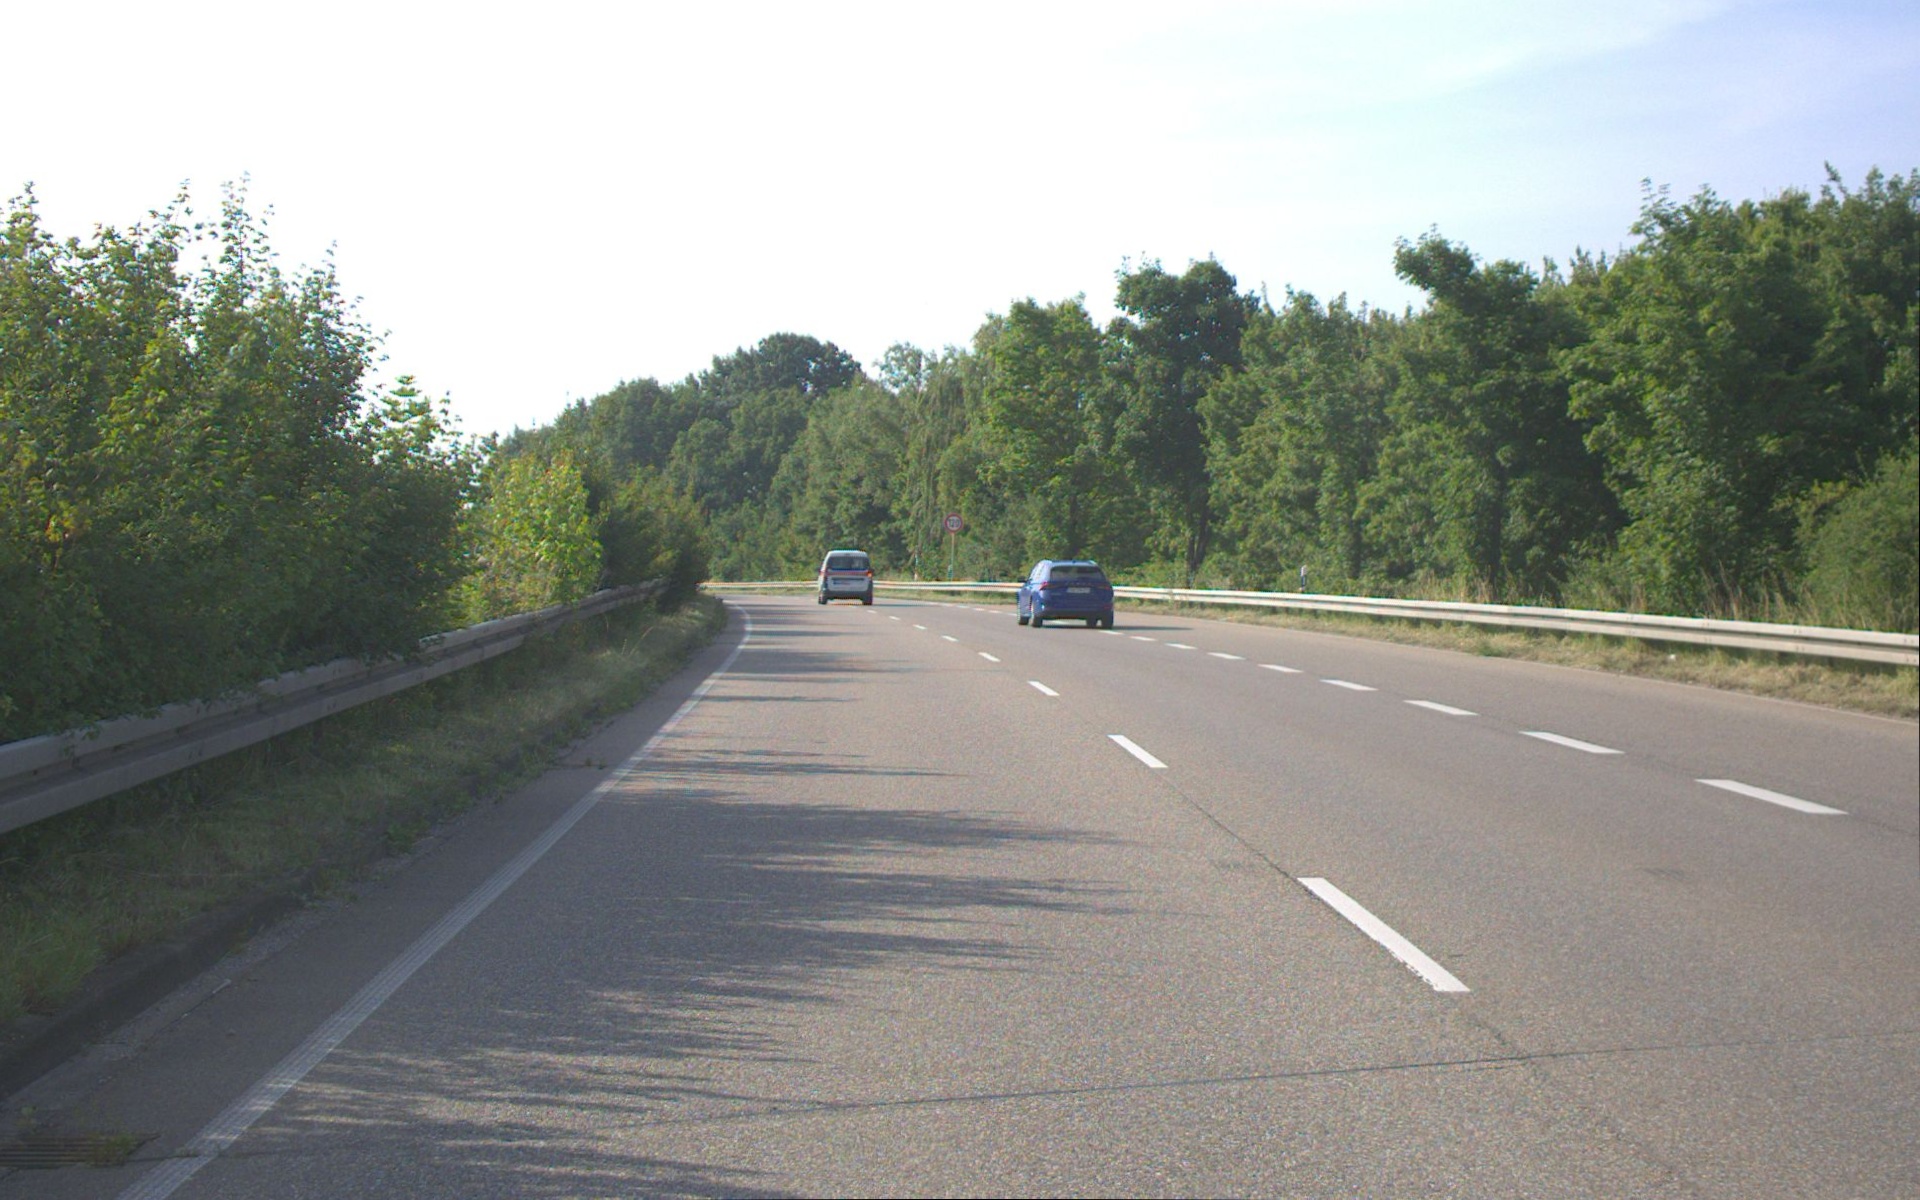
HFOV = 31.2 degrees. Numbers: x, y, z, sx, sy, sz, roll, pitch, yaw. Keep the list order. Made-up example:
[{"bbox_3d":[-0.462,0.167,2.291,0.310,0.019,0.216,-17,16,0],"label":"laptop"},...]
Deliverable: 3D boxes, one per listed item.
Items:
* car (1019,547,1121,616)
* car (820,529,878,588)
[{"bbox_3d":[2.362,-0.405,74.811,1.778,1.446,4.001,1,0,-4],"label":"car"},{"bbox_3d":[-3.716,-1.388,114.499,1.765,1.875,4.001,1,1,-4],"label":"car"}]
